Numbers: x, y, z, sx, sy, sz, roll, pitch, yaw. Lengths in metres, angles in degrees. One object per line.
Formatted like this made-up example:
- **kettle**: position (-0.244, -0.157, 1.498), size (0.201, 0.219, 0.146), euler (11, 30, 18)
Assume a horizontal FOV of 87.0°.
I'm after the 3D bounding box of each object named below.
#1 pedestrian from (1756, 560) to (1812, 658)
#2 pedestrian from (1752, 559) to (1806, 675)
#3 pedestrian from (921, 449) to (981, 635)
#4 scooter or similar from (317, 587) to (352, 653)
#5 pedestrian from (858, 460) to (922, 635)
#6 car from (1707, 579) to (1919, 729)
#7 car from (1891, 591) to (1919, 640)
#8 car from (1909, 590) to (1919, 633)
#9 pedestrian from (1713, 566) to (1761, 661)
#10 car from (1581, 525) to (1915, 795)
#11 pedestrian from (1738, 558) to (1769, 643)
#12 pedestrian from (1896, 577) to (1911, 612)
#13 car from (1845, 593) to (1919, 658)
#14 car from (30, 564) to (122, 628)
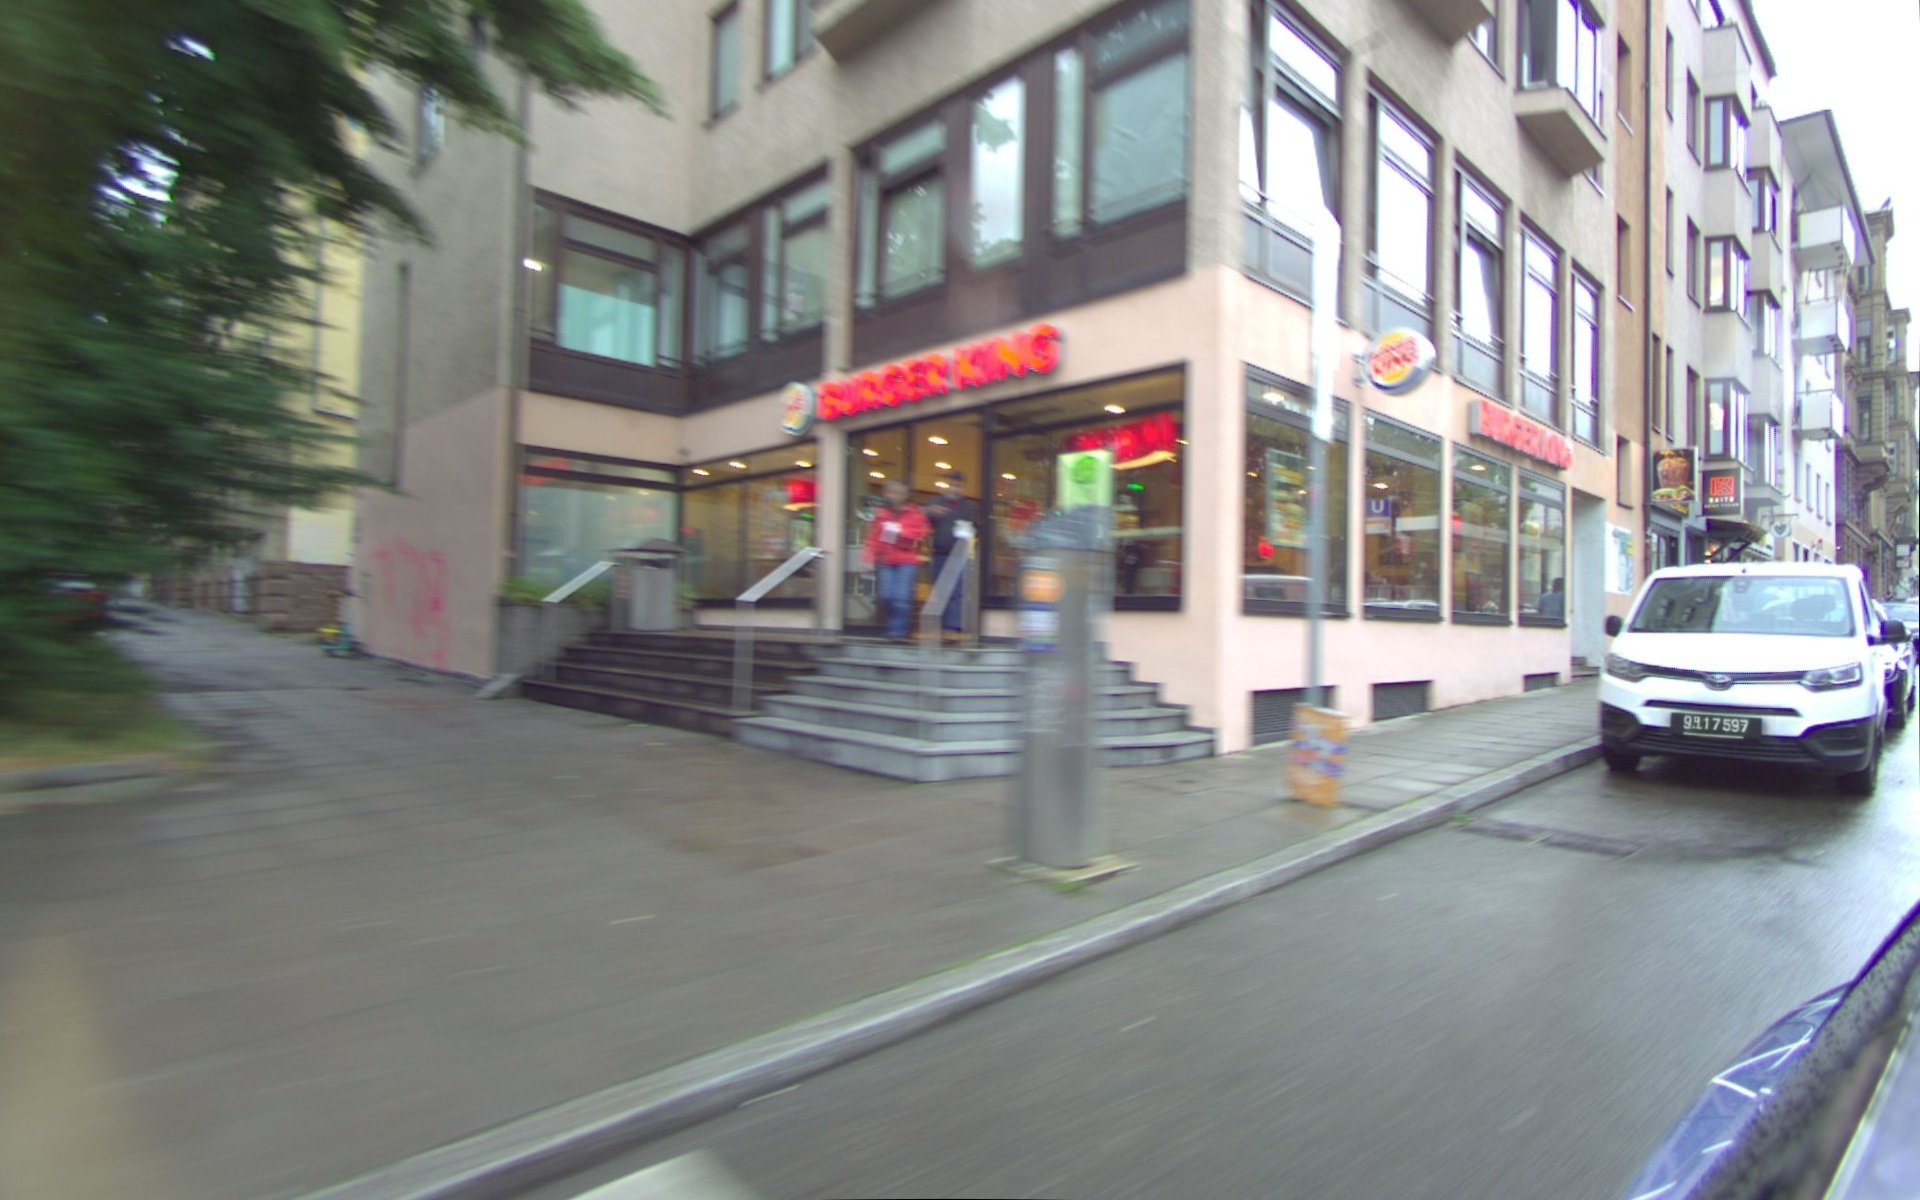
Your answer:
- **pedestrian**: position (15.937, 0.162, 19.570), size (0.578, 1.842, 0.757), euler (0, 1, -42)
- **pedestrian**: position (14.310, 0.279, 17.692), size (0.524, 1.972, 0.652), euler (0, 1, -42)
- **pedestrian**: position (-0.104, -0.583, 10.396), size (0.585, 1.842, 0.668), euler (0, 1, -3)
- **scooter or similar**: position (-11.483, 0.352, 18.571), size (0.374, 1.188, 0.925), euler (0, 0, -42)
- **pedestrian**: position (-0.694, -0.510, 10.084), size (0.613, 1.670, 0.726), euler (0, 1, -3)
- **car**: position (11.402, 0.552, 13.246), size (4.340, 1.636, 1.908), euler (-1, 1, -43)
- **car**: position (30.571, 0.460, 31.868), size (3.357, 1.480, 1.647), euler (-1, 1, -43)
- **car**: position (35.063, 0.407, 36.002), size (3.387, 1.480, 1.718), euler (-1, 1, -43)
- **pedestrian**: position (14.514, 0.233, 18.915), size (0.571, 1.735, 0.611), euler (0, 1, -42)
- **car**: position (7.348, 0.364, 9.223), size (1.907, 1.829, 4.701), euler (0, 1, 44)
- **pedestrian**: position (17.934, -0.002, 22.875), size (0.528, 1.882, 0.549), euler (1, 1, 39)
- **pedestrian**: position (45.859, -0.271, 49.185), size (0.487, 1.665, 0.621), euler (1, 1, 42)
- **car**: position (23.695, 0.584, 25.423), size (4.176, 1.480, 1.908), euler (-1, 1, -44)
- **car**: position (-22.071, -0.132, 25.264), size (1.645, 1.474, 3.667), euler (-1, 2, -42)
